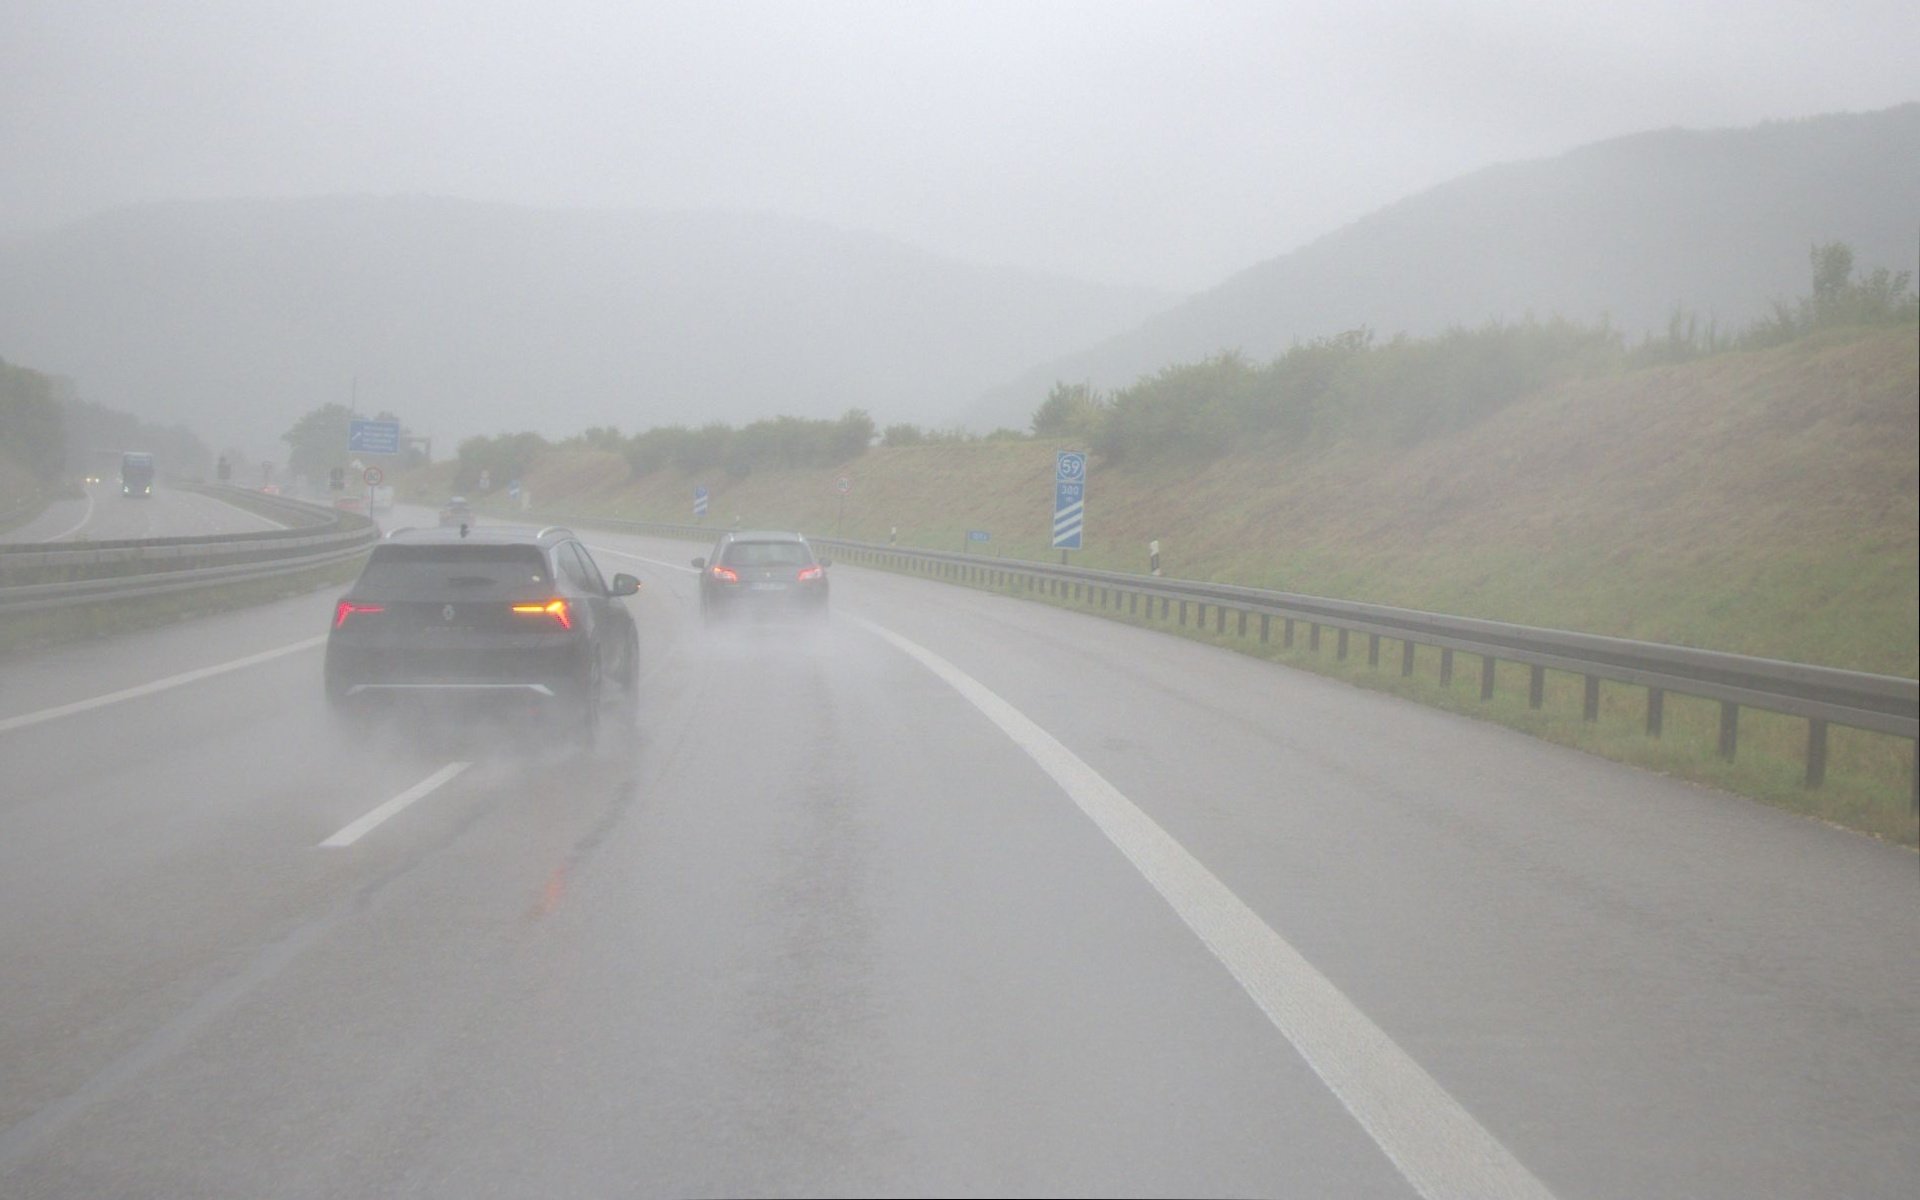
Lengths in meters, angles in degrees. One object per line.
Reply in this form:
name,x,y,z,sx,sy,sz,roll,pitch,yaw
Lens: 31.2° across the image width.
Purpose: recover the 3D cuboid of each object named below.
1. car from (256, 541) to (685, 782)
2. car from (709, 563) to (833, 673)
car,-3.413,0.387,25.019,2.406,1.510,4.784,2,0,0
car,-2.756,0.226,49.542,1.679,1.467,3.815,2,0,-4
